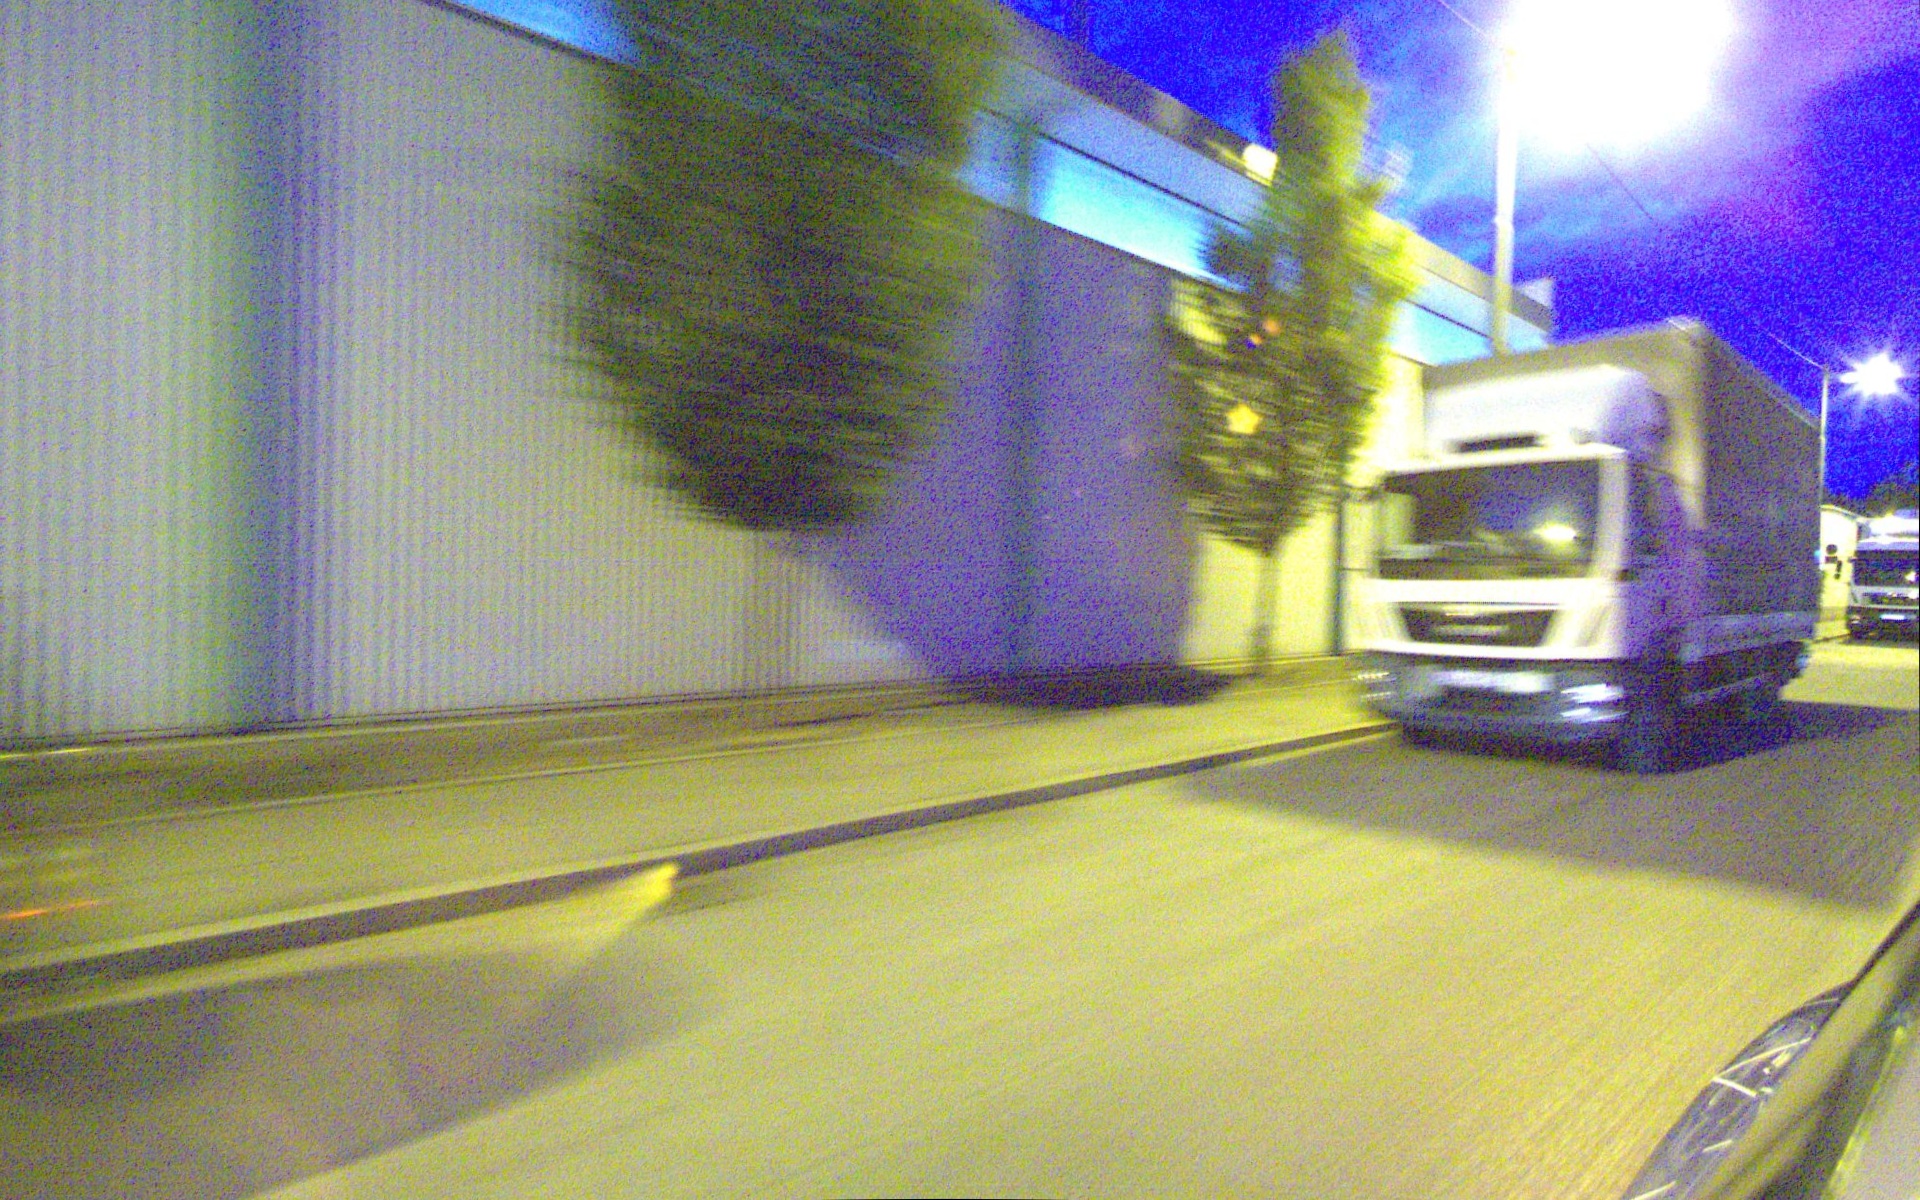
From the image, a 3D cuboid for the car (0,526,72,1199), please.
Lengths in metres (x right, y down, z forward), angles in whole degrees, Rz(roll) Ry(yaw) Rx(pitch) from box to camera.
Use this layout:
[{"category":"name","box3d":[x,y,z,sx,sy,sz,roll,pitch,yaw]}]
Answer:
[{"category":"car","box3d":[-4.037,0.590,1.717,3.751,1.537,1.857,-1,4,-41]}]

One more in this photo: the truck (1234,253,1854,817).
[{"category":"truck","box3d":[7.611,-0.636,12.054,10.170,4.031,3.525,-1,4,-44]}]

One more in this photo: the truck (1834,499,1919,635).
[{"category":"truck","box3d":[32.202,-1.080,33.572,10.154,4.031,2.838,-1,3,-38]}]

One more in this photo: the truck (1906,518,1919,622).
[{"category":"truck","box3d":[40.393,-1.142,40.234,5.936,4.031,2.840,-1,3,-36]}]
